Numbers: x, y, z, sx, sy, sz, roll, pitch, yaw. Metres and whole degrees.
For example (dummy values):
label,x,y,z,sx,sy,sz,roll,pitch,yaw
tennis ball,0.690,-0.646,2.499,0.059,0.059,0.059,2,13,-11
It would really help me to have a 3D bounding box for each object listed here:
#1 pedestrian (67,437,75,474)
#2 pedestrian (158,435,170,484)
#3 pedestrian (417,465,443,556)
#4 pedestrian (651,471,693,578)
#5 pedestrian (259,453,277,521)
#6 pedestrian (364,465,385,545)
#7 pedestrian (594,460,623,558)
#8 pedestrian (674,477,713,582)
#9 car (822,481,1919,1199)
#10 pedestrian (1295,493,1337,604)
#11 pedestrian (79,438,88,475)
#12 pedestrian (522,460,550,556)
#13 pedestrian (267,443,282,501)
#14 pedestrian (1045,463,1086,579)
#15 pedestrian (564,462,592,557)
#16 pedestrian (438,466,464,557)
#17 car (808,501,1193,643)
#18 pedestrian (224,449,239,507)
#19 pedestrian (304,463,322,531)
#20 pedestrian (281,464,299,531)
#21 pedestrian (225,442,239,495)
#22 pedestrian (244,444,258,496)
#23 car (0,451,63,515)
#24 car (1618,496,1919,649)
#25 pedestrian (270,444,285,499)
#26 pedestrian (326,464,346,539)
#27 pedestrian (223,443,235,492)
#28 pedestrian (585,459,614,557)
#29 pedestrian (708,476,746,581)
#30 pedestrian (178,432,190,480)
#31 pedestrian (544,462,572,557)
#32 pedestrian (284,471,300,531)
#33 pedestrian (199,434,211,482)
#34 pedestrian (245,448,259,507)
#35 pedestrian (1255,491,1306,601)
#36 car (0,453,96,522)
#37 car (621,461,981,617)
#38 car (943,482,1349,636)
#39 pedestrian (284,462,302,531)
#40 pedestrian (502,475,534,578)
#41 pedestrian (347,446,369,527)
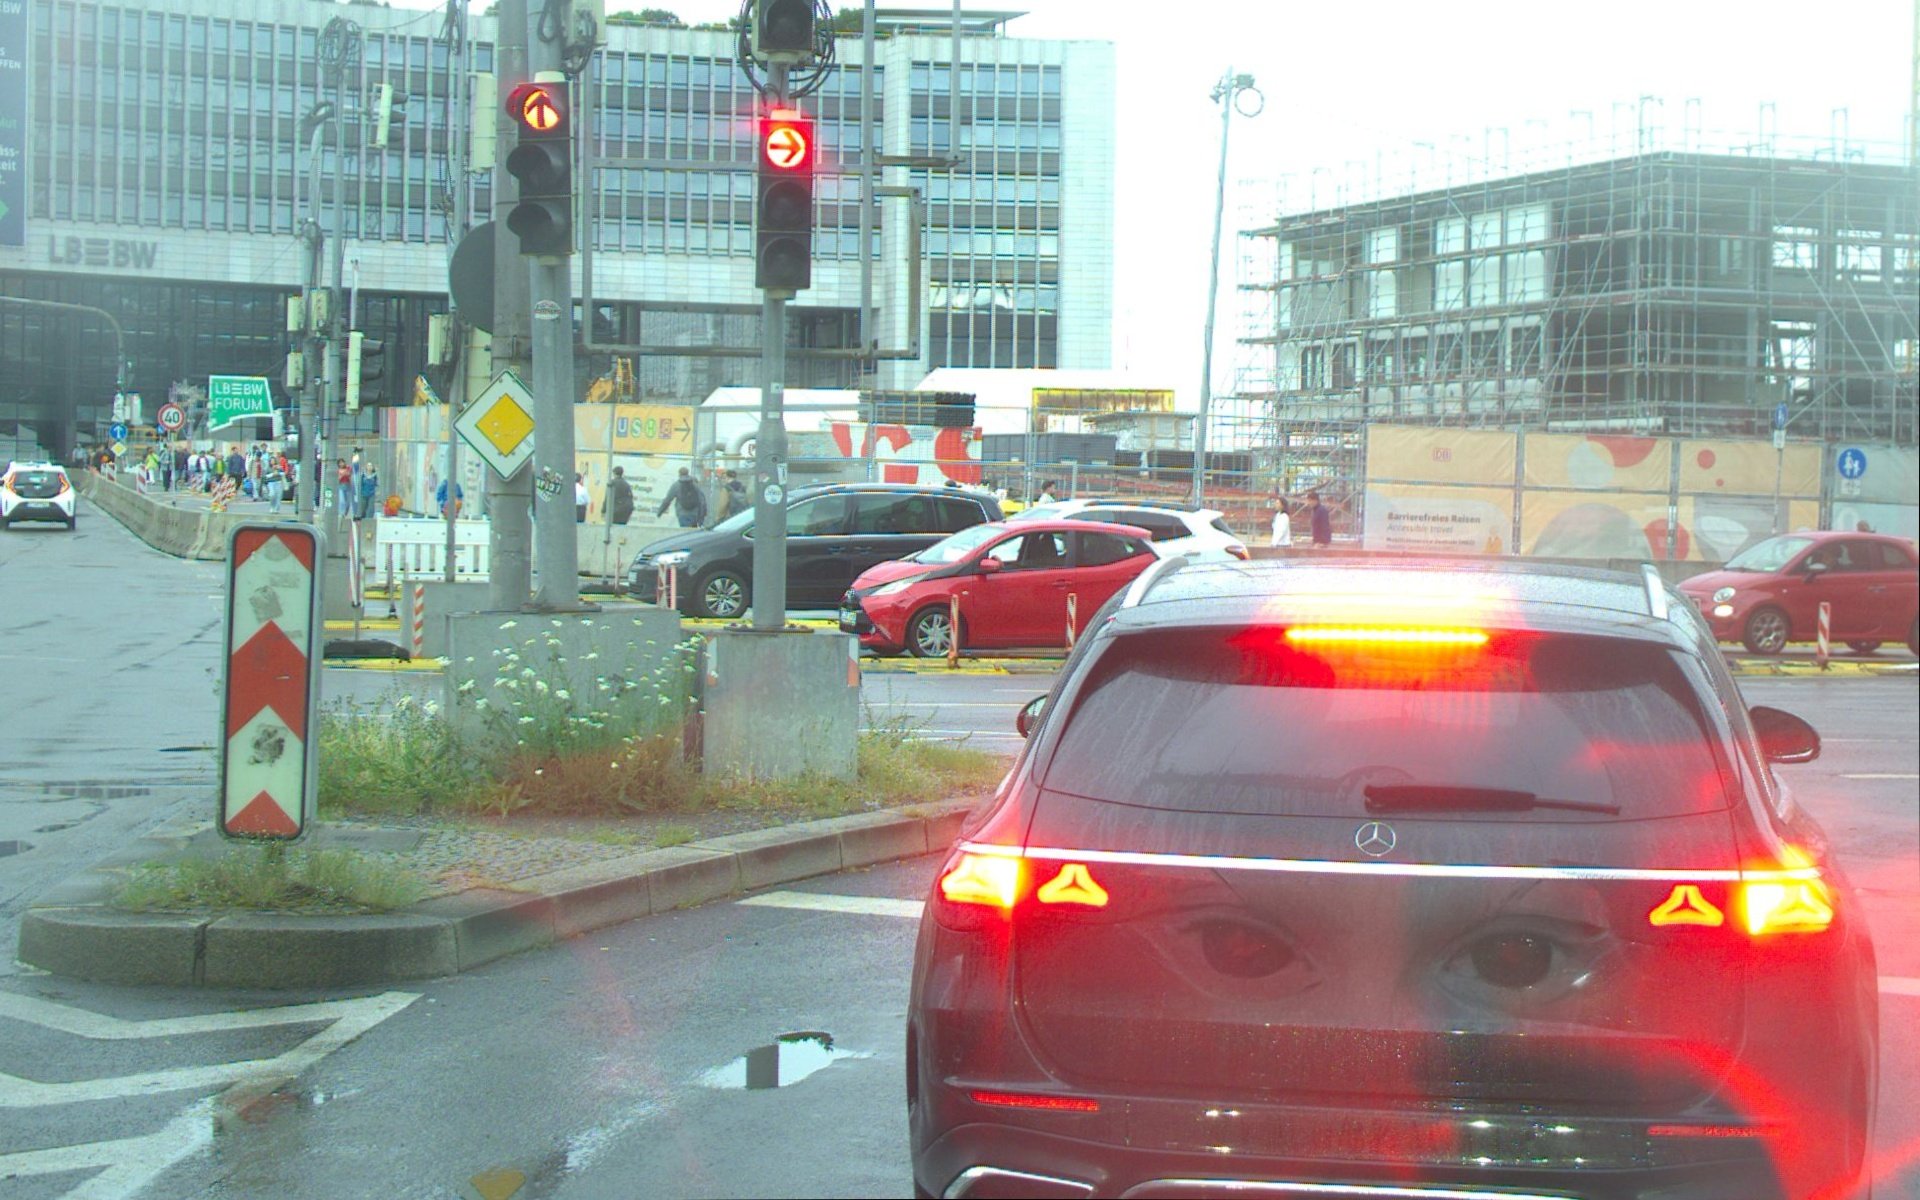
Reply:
label,x,y,z,sx,sy,sz,roll,pitch,yaw
pedestrian,-46.209,-7.486,178.670,0.361,1.891,0.576,2,0,-15
pedestrian,-31.823,-5.615,137.434,0.361,1.891,0.576,2,0,-18
pedestrian,-11.131,-1.879,72.197,0.361,1.891,0.576,2,0,-22
pedestrian,-5.118,-1.341,61.046,0.575,1.891,0.361,2,0,31
pedestrian,-19.650,-3.209,97.606,0.361,1.891,0.576,2,0,-18
pedestrian,-14.028,-2.280,82.366,0.361,1.891,0.576,2,0,-18
pedestrian,-6.847,-1.777,66.980,0.361,1.891,0.576,2,0,-22
pedestrian,-4.890,-1.288,63.061,0.575,1.891,0.362,2,0,13
car,0.890,0.603,7.669,1.891,1.538,3.992,2,0,5
pedestrian,6.150,-0.891,59.438,0.574,1.891,0.362,2,0,-11
pedestrian,-45.615,-7.466,178.962,0.361,1.891,0.576,2,0,-15
pedestrian,-8.469,-1.837,68.651,0.361,1.891,0.576,2,0,-21
pedestrian,-22.842,-4.266,114.523,0.361,1.891,0.576,2,0,-18
pedestrian,1.736,-1.296,56.569,0.574,1.891,0.362,2,0,-2
pedestrian,-7.684,-1.811,69.101,0.361,1.891,0.576,2,0,-22
pedestrian,-10.716,-1.865,72.404,0.361,1.891,0.576,2,0,-22
car,0.400,-0.278,35.105,3.532,1.300,1.666,2,0,-19
pedestrian,-23.889,-4.000,112.667,0.361,1.891,0.576,2,0,-18
pedestrian,-18.091,-2.874,96.190,0.361,1.891,0.576,2,0,-18
pedestrian,-19.055,-2.911,97.775,0.361,1.891,0.576,2,0,-18
pedestrian,-26.600,-4.812,125.639,0.361,1.891,0.576,2,0,-18
pedestrian,-25.965,-4.757,125.876,0.361,1.891,0.576,2,0,-18
car,-27.825,-3.465,102.465,1.993,1.760,4.420,2,0,-15
car,10.300,-0.313,41.815,3.985,1.702,2.001,2,0,-18
pedestrian,-23.794,-4.493,119.865,0.361,1.891,0.576,2,0,-18
pedestrian,-15.931,-2.517,87.805,0.361,1.891,0.576,2,0,-18
pedestrian,-28.849,-5.216,135.695,0.361,1.891,0.576,2,0,-18
pedestrian,-7.001,-1.781,66.765,0.361,1.891,0.576,2,0,-22
pedestrian,-4.223,-1.294,62.270,0.361,1.891,0.576,2,0,-37
pedestrian,-31.098,-5.787,137.754,0.361,1.891,0.576,2,0,-18
pedestrian,-8.069,-1.811,68.939,0.361,1.891,0.576,2,0,-22
pedestrian,-21.357,-3.162,109.899,0.361,1.891,0.576,2,0,-18
pedestrian,-30.314,-5.699,138.063,0.361,1.891,0.576,2,0,-18
pedestrian,-22.905,-3.962,111.207,0.361,1.891,0.576,2,0,-14
pedestrian,5.596,-0.936,60.041,0.655,1.895,0.632,2,0,-14
car,-21.469,-2.633,80.979,1.780,1.468,3.560,2,0,-9
car,-1.971,-0.728,42.121,3.985,1.728,2.001,2,0,-16
car,2.069,-0.447,38.593,4.039,1.547,2.001,2,0,-19
pedestrian,-18.648,-2.893,96.057,0.361,1.891,0.576,2,0,-18
pedestrian,-8.175,-1.361,63.568,0.361,1.891,0.576,2,0,-26
pedestrian,-14.396,-2.711,82.192,0.361,1.891,0.576,2,0,-18
